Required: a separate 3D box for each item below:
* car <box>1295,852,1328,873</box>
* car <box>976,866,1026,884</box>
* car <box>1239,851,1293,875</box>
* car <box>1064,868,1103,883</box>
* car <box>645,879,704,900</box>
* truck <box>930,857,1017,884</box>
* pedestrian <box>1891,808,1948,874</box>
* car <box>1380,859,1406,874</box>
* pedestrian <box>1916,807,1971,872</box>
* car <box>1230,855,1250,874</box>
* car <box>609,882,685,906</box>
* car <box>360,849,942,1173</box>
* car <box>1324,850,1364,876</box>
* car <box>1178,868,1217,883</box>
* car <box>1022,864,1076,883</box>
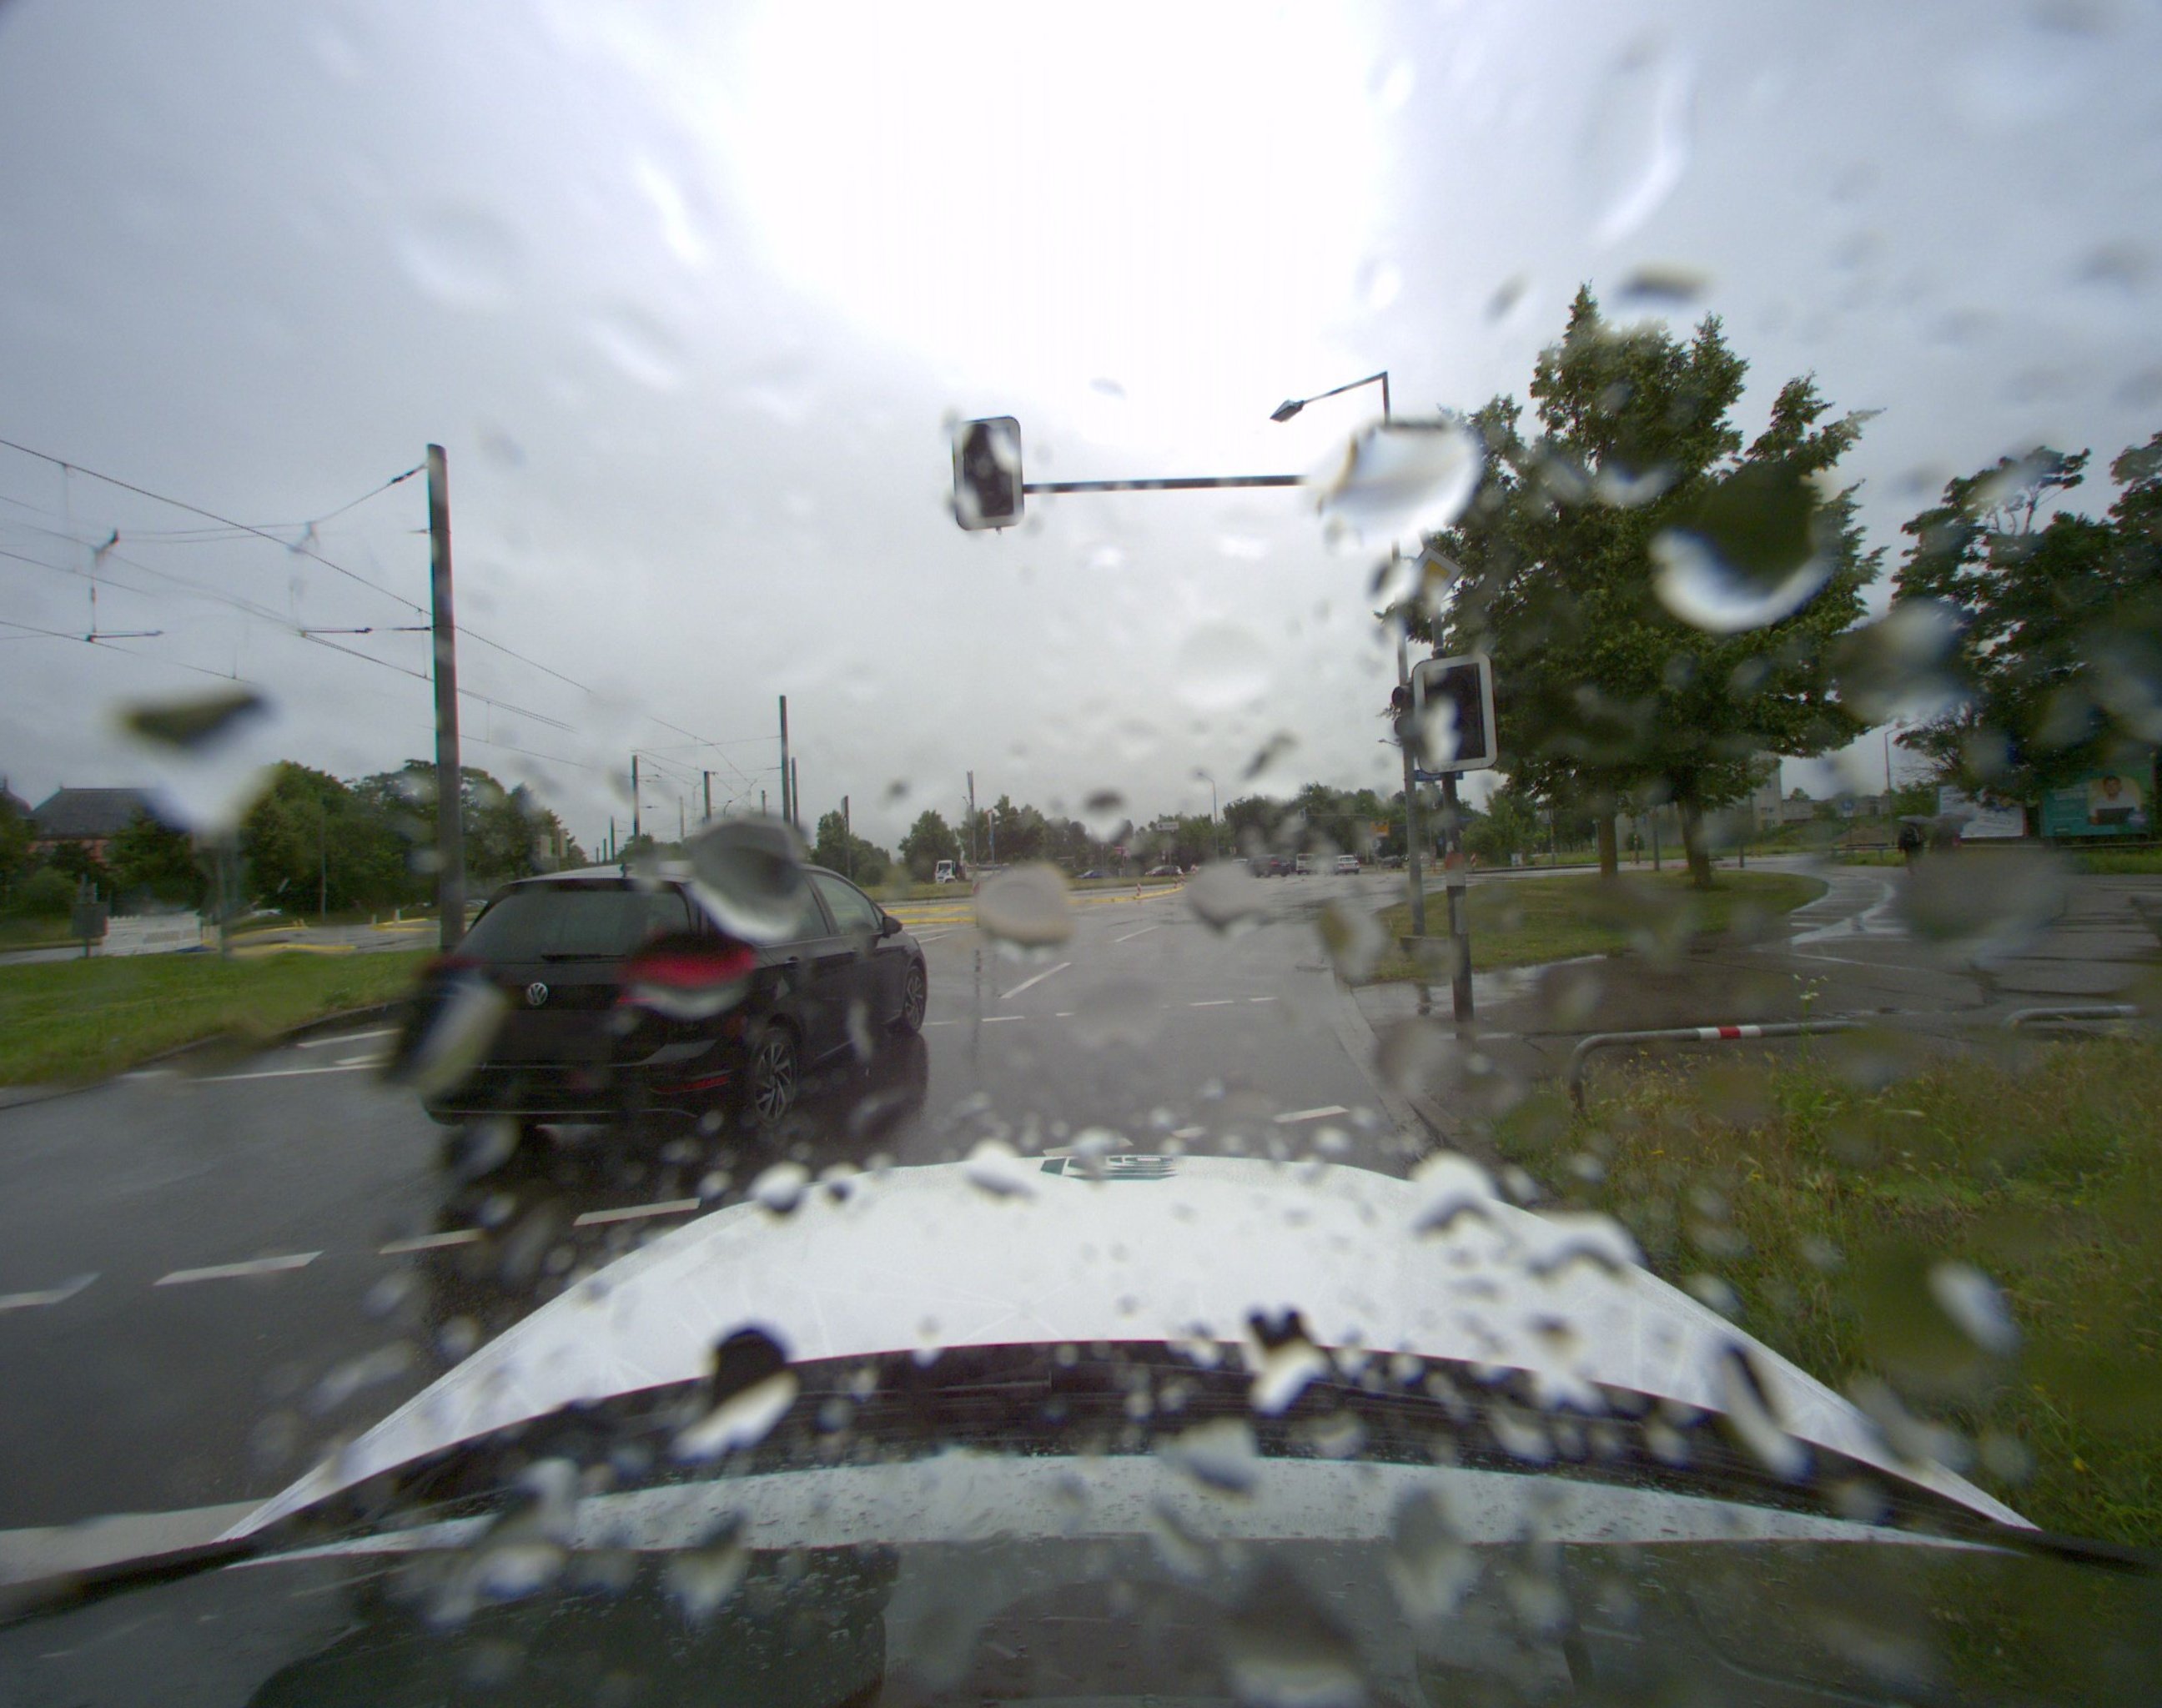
[{"bbox_3d":[22.676,0.865,80.108,1.766,2.036,4.025,-1,-2,37],"label":"car"},{"bbox_3d":[-7.950,2.051,80.789,4.848,1.744,1.772,0,-1,-9],"label":"car"},{"bbox_3d":[13.456,0.690,59.484,1.792,1.648,3.967,0,-1,-25],"label":"car"},{"bbox_3d":[0.273,2.337,89.008,3.991,1.648,1.781,0,-1,-13],"label":"car"},{"bbox_3d":[-34.825,3.033,69.823,1.811,1.724,4.191,-2,-2,41],"label":"car"},{"bbox_3d":[-11.191,1.670,84.769,8.776,2.711,1.991,0,-1,-13],"label":"truck"},{"bbox_3d":[23.205,-0.329,22.544,0.811,1.784,0.914,1,-2,-33],"label":"pedestrian"},{"bbox_3d":[34.258,1.358,89.386,1.672,1.492,3.272,-3,-1,39],"label":"car"},{"bbox_3d":[24.358,-0.383,23.006,0.811,1.784,0.914,1,-2,-33],"label":"pedestrian"},{"bbox_3d":[14.044,0.952,72.104,1.670,1.648,3.957,-1,-1,9],"label":"car"},{"bbox_3d":[-33.792,3.086,63.554,1.755,1.744,4.896,-2,-2,38],"label":"car"},{"bbox_3d":[-2.427,0.785,6.037,1.775,1.517,4.336,0,-1,4],"label":"car"},{"bbox_3d":[19.954,0.722,61.959,1.775,1.811,4.844,-3,-1,5],"label":"car"},{"bbox_3d":[13.028,2.373,91.147,3.996,1.648,1.779,0,-1,-17],"label":"car"},{"bbox_3d":[-3.027,1.845,77.822,4.878,1.744,1.761,0,-2,-28],"label":"car"}]
